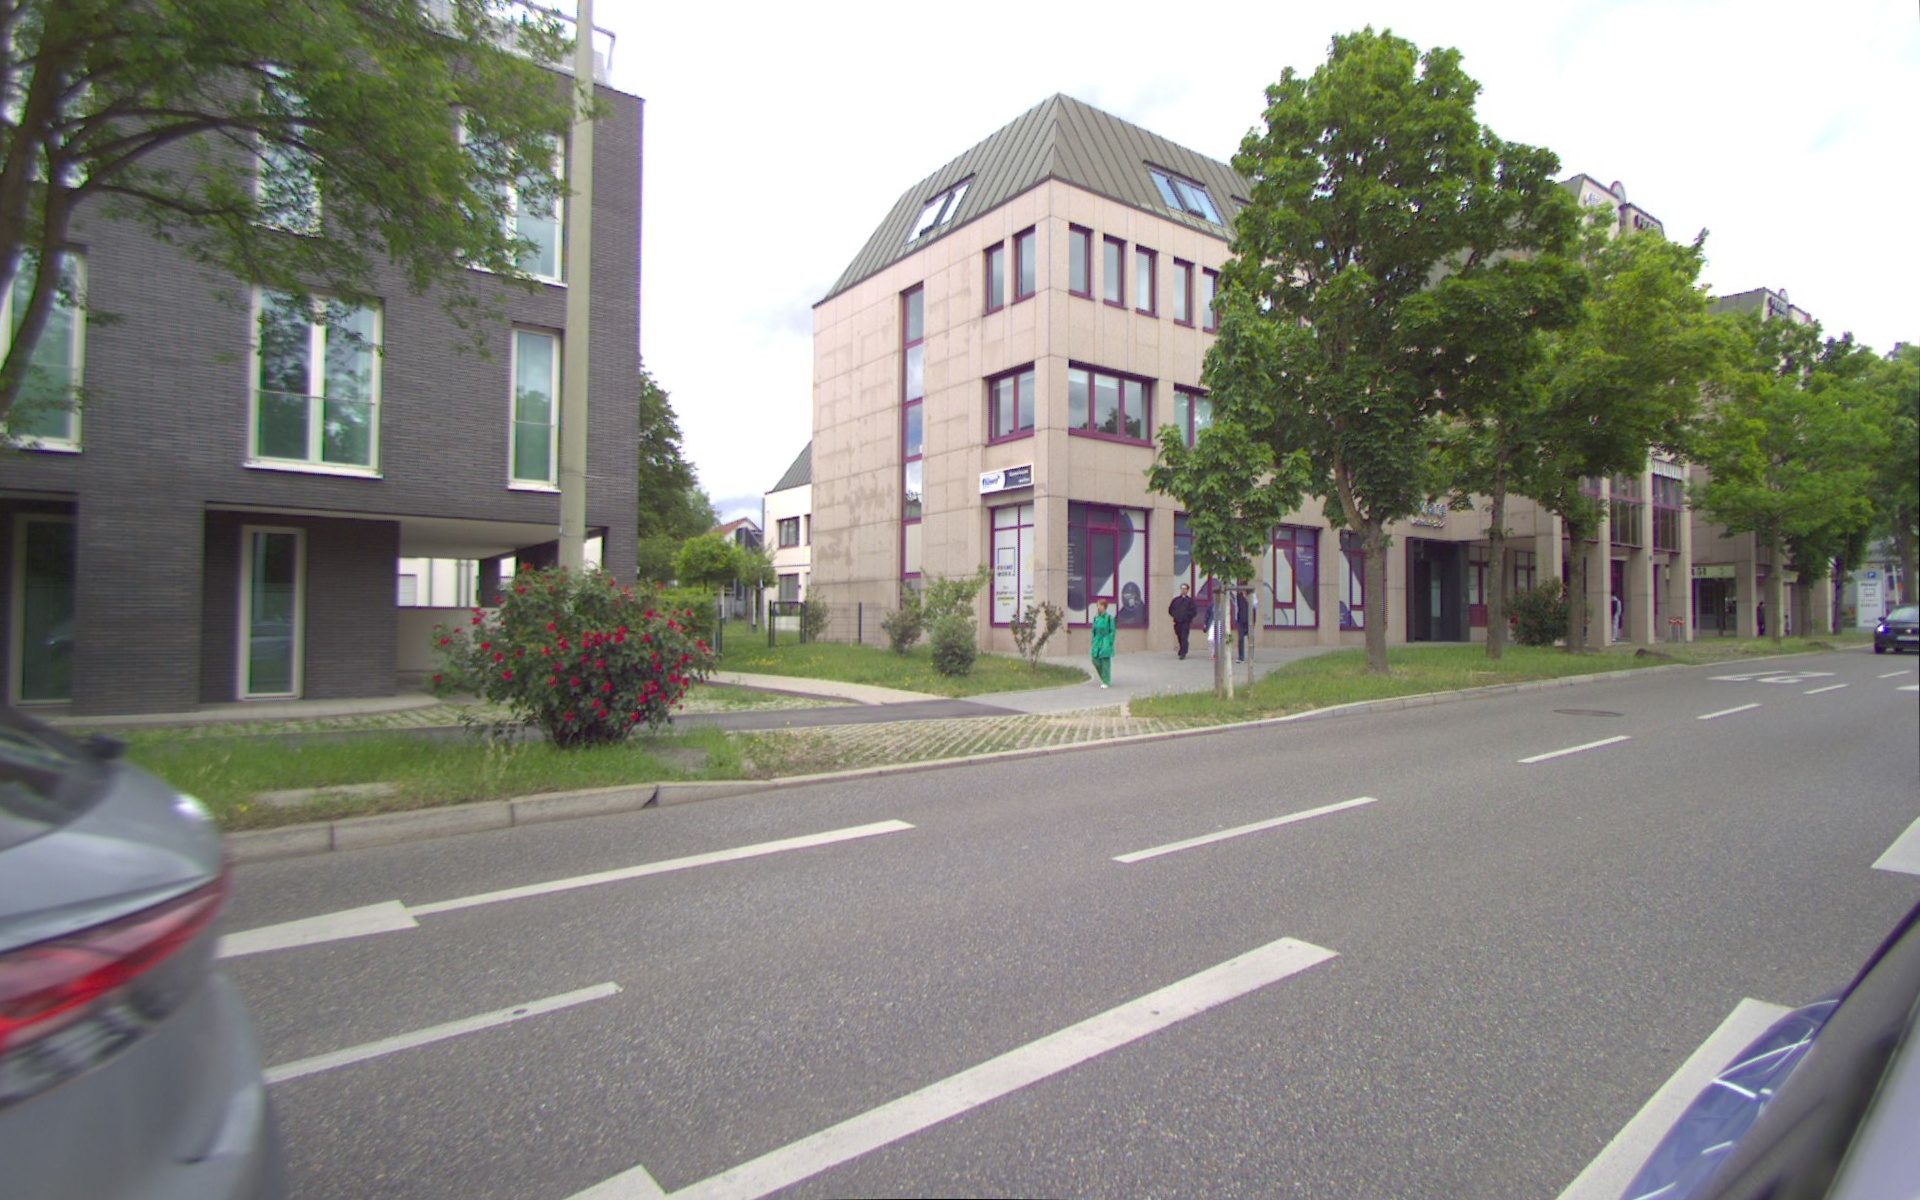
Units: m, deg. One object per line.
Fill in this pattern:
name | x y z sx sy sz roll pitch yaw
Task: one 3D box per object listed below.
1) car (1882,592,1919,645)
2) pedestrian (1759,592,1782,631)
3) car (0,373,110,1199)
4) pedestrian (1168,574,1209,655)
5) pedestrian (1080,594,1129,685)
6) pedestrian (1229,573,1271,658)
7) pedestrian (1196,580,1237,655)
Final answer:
car | 29.620 0.533 30.948 3.930 1.531 1.660 -1 0 -41
pedestrian | 39.385 0.538 49.177 0.932 1.845 0.718 0 0 -41
car | -2.965 0.622 0.227 4.238 1.616 1.894 0 0 -41
pedestrian | 5.262 0.332 23.300 0.665 1.828 0.642 0 -1 -41
pedestrian | 2.534 0.670 17.741 0.665 1.537 0.496 0 2 -41
pedestrian | 6.391 0.336 22.310 0.665 1.828 0.642 0 -1 -41
pedestrian | 5.790 0.388 22.845 0.665 1.668 0.642 0 -1 -41
